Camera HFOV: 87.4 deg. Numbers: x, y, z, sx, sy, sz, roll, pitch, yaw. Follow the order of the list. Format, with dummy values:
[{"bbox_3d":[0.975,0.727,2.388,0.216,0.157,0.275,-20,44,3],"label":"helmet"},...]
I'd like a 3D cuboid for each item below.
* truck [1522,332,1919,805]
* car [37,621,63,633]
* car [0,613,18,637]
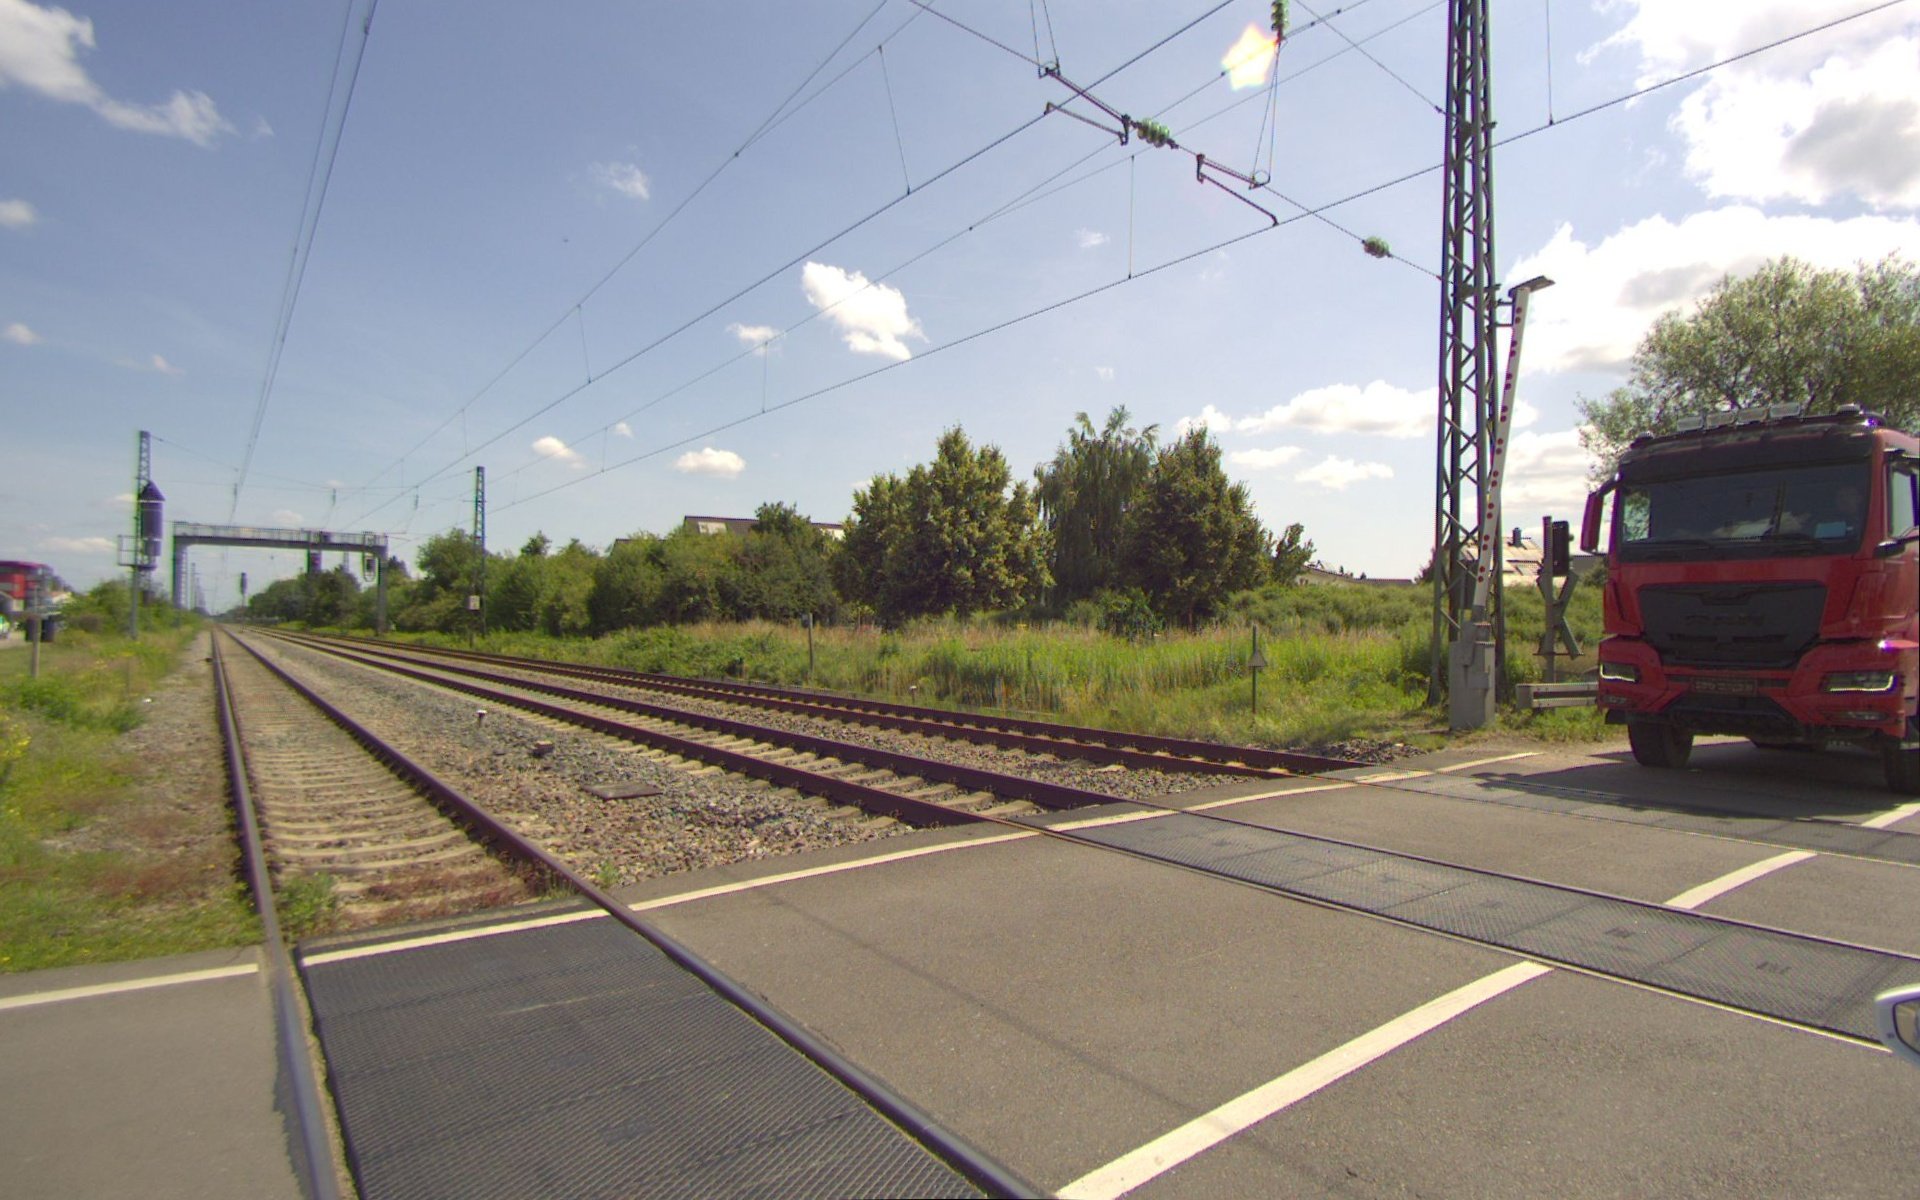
[{"bbox_3d":[11.685,-0.079,12.538,12.017,3.795,2.856,2,-1,-33],"label":"truck"},{"bbox_3d":[-97.245,2.872,107.390,1.569,1.244,3.747,2,-2,-36],"label":"car"},{"bbox_3d":[-78.214,2.021,81.834,1.569,1.887,3.749,2,-2,-35],"label":"car"}]
